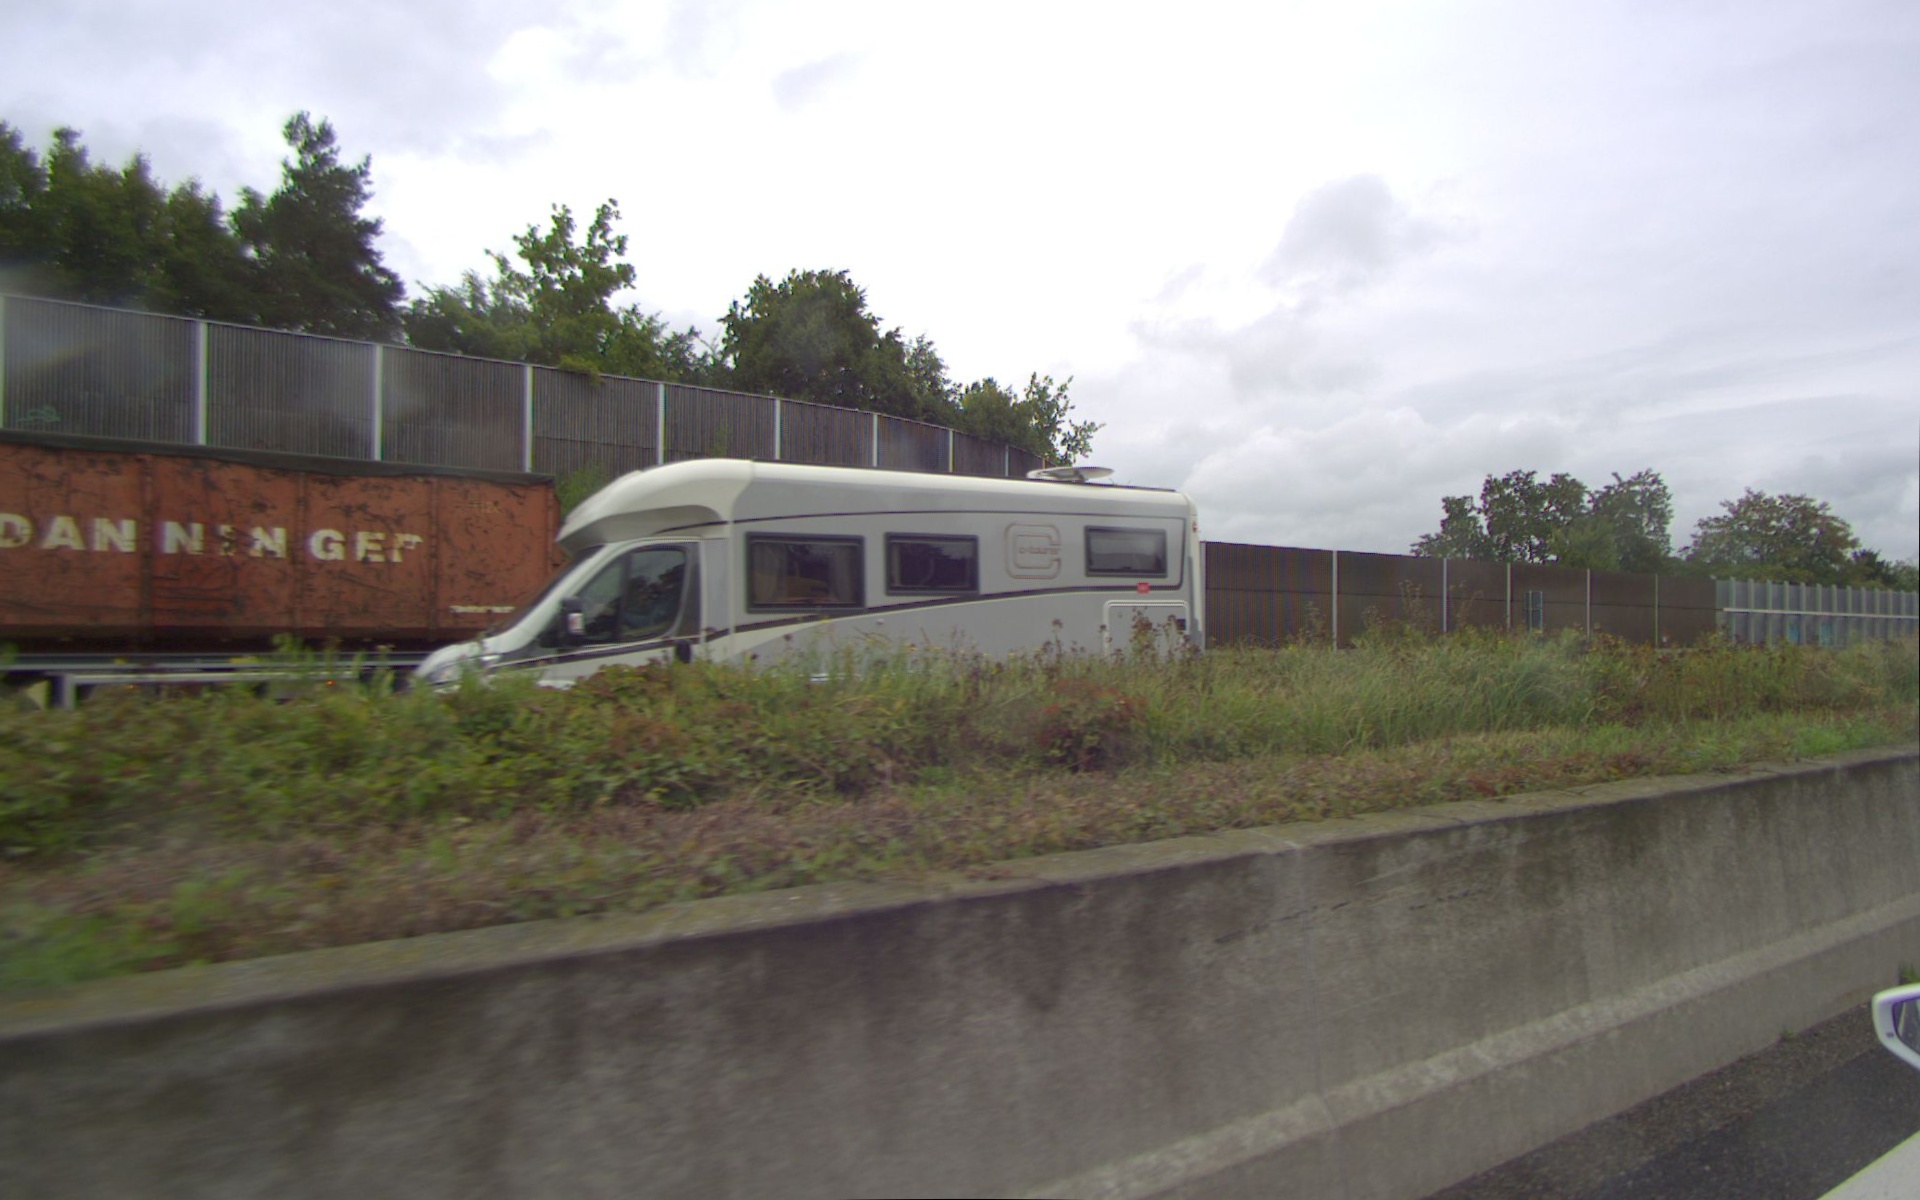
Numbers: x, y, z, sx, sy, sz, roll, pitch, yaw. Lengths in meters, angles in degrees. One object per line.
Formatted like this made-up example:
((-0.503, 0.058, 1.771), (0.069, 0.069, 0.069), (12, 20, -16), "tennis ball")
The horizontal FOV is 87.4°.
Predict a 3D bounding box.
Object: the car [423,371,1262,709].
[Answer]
((-0.731, -0.284, 9.560), (7.634, 2.222, 2.362), (2, -1, -31), "car")

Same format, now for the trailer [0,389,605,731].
((-11.047, -0.424, 12.176), (12.416, 3.732, 2.714), (1, -1, -31), "trailer")
